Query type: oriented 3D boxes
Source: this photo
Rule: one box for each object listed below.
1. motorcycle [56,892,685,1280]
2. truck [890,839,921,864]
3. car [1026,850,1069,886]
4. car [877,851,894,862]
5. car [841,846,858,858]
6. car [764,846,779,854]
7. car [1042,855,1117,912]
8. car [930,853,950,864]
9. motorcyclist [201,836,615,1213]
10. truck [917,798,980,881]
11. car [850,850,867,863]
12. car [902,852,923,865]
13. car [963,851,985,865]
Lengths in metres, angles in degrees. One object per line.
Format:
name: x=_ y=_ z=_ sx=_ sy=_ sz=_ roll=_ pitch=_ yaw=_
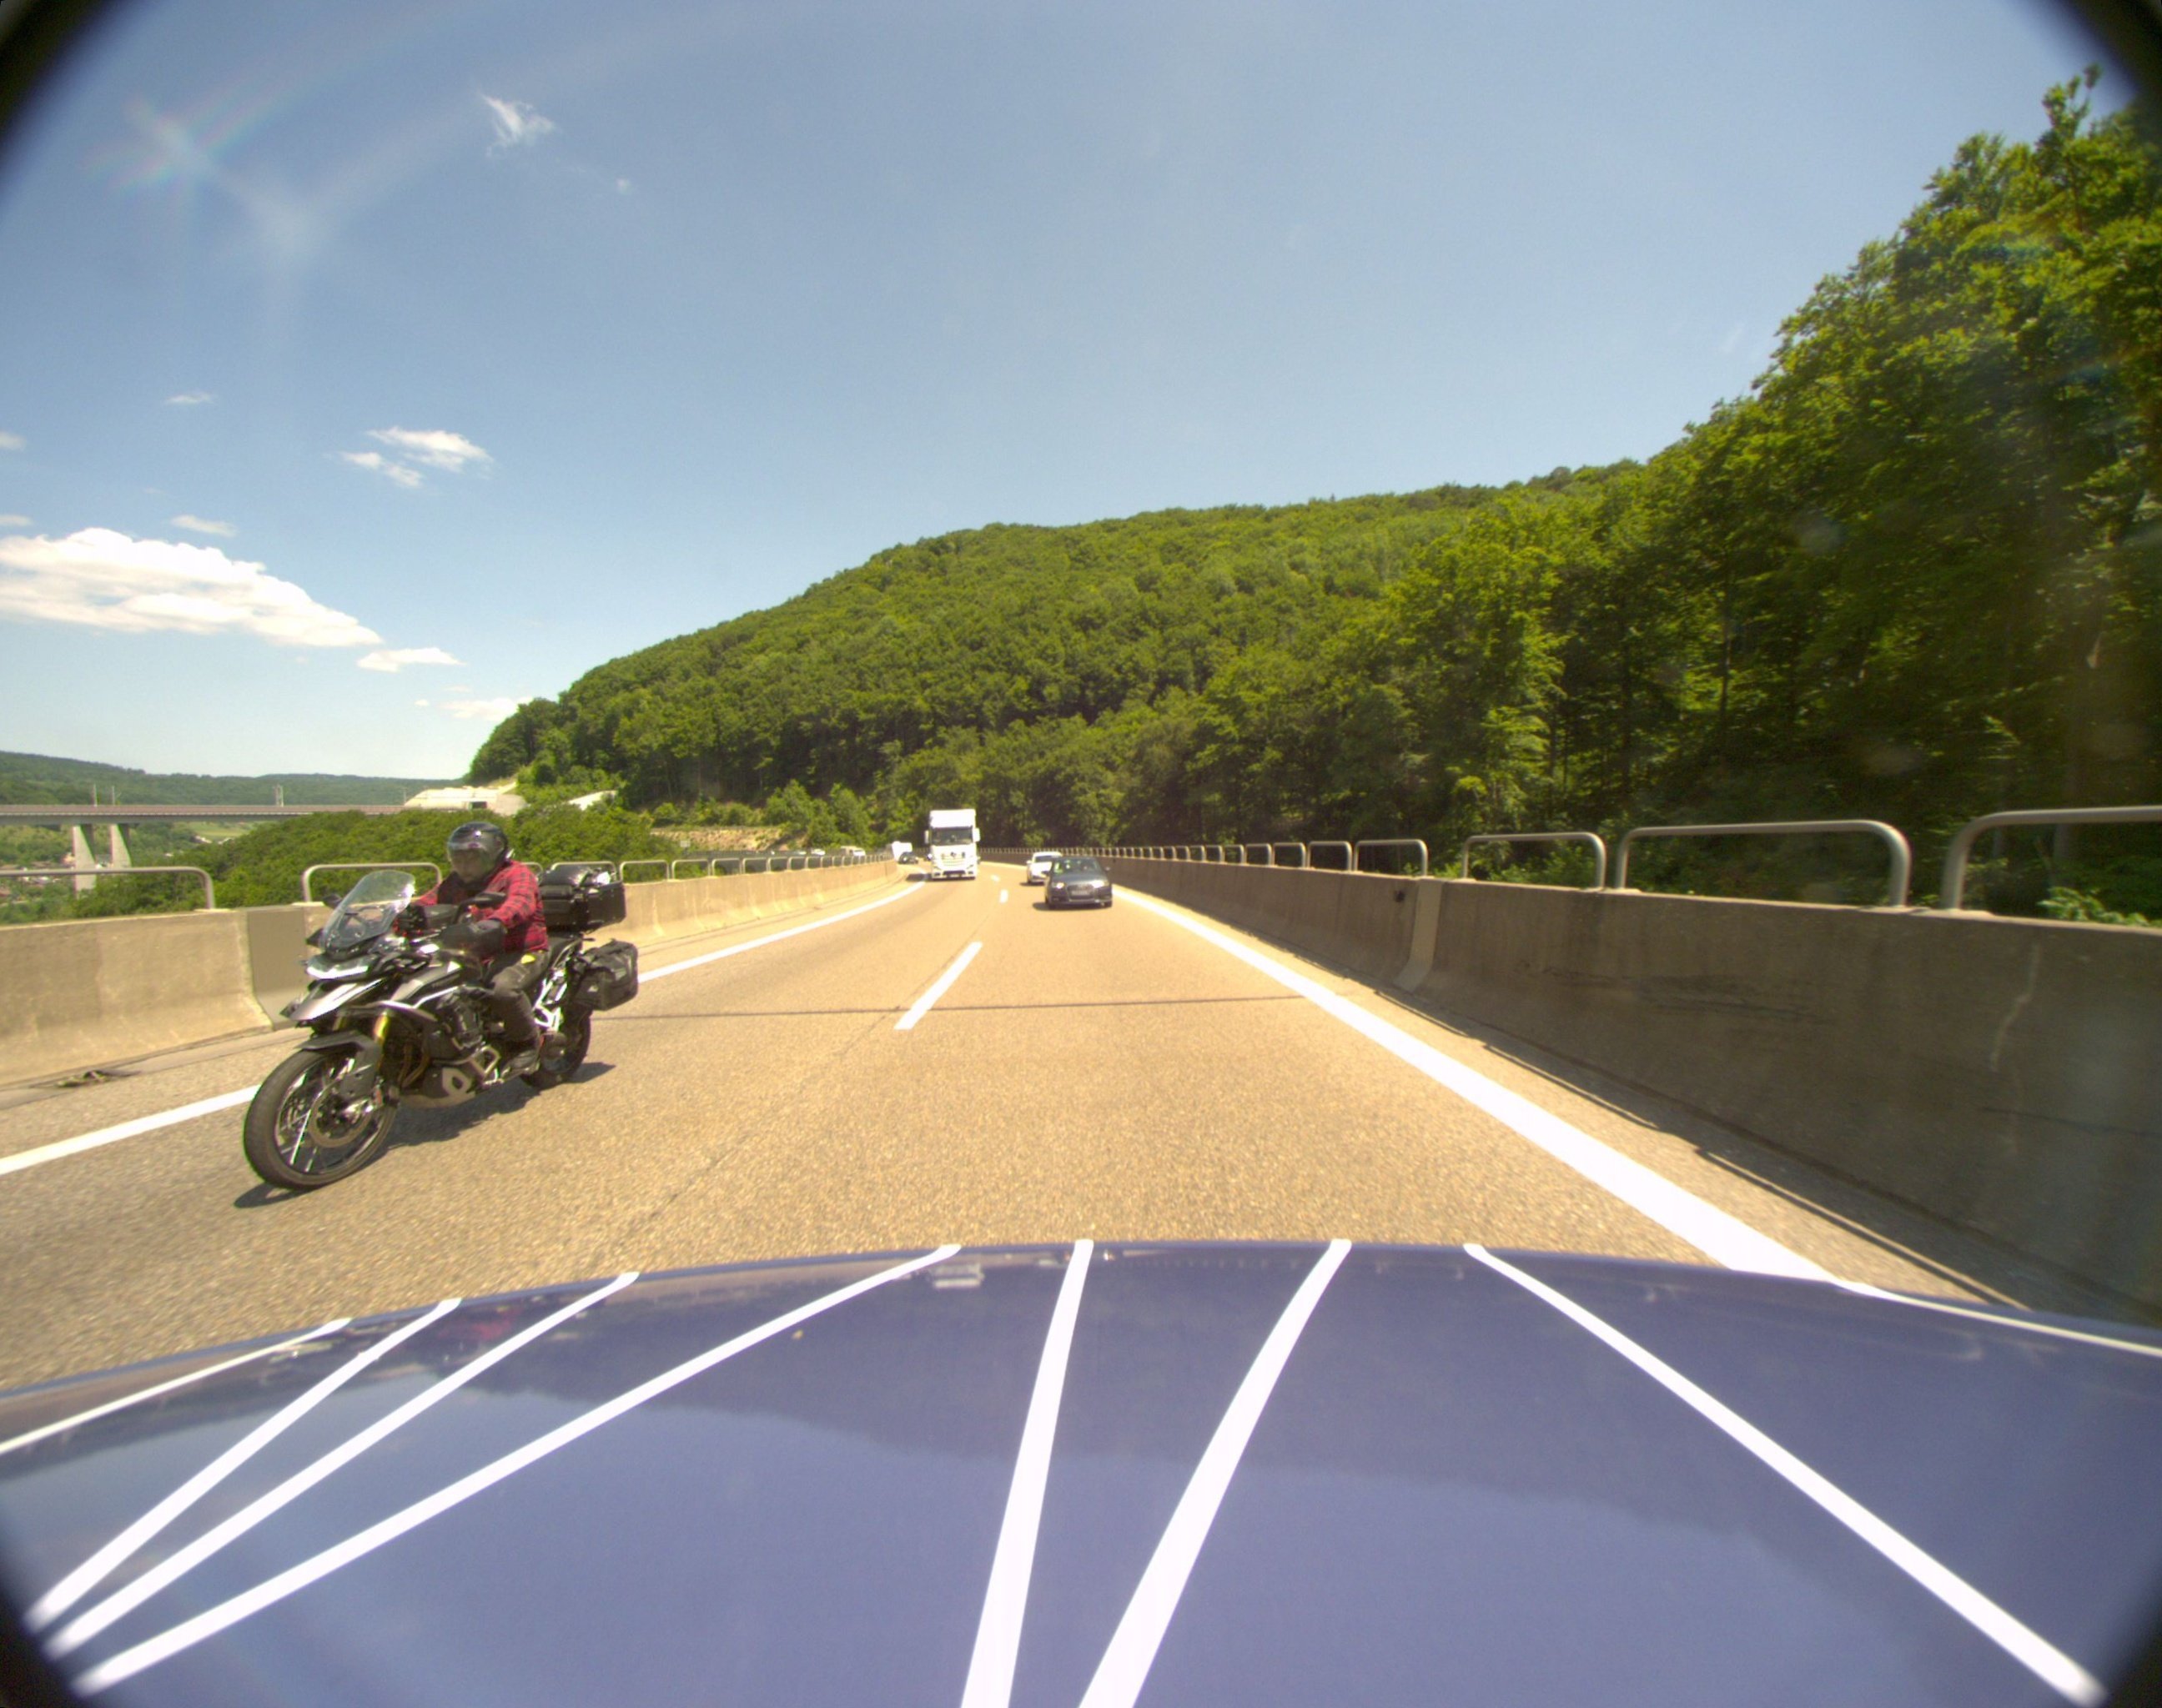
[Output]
motorcycle: x=-3.610 y=1.014 z=4.440 sx=0.974 sy=1.411 sz=2.681 roll=-1 pitch=1 yaw=5
truck: x=-22.679 y=-0.292 z=97.961 sx=2.622 sy=3.084 sz=6.841 roll=-2 pitch=1 yaw=-24
car: x=-1.599 y=0.594 z=35.157 sx=1.756 sy=1.460 sz=3.979 roll=-3 pitch=1 yaw=-5
car: x=-33.781 y=0.441 z=131.246 sx=2.003 sy=1.783 sz=3.991 roll=-2 pitch=1 yaw=-29
car: x=-40.181 y=-0.300 z=132.091 sx=2.003 sy=2.002 sz=3.991 roll=-2 pitch=0 yaw=-29
car: x=-73.524 y=-0.914 z=180.353 sx=2.004 sy=2.002 sz=3.988 roll=-2 pitch=1 yaw=-43
car: x=-0.141 y=0.750 z=21.282 sx=1.756 sy=1.350 sz=4.120 roll=-1 pitch=0 yaw=-4
car: x=-19.042 y=0.565 z=102.353 sx=2.002 sy=1.444 sz=3.993 roll=-1 pitch=0 yaw=-19
motorcyclist: x=-3.633 y=0.811 z=4.301 sx=1.063 sy=1.790 sz=1.338 roll=-1 pitch=1 yaw=5
truck: x=-7.713 y=-0.782 z=46.200 sx=2.971 sy=4.109 sz=16.694 roll=-1 pitch=1 yaw=-8
car: x=-37.112 y=0.430 z=126.840 sx=2.003 sy=2.002 sz=3.991 roll=-2 pitch=1 yaw=-27
car: x=-20.628 y=0.570 z=92.984 sx=1.759 sy=1.480 sz=3.974 roll=-1 pitch=1 yaw=-24
car: x=-11.469 y=0.399 z=81.560 sx=1.758 sy=1.480 sz=3.976 roll=-1 pitch=1 yaw=-16
